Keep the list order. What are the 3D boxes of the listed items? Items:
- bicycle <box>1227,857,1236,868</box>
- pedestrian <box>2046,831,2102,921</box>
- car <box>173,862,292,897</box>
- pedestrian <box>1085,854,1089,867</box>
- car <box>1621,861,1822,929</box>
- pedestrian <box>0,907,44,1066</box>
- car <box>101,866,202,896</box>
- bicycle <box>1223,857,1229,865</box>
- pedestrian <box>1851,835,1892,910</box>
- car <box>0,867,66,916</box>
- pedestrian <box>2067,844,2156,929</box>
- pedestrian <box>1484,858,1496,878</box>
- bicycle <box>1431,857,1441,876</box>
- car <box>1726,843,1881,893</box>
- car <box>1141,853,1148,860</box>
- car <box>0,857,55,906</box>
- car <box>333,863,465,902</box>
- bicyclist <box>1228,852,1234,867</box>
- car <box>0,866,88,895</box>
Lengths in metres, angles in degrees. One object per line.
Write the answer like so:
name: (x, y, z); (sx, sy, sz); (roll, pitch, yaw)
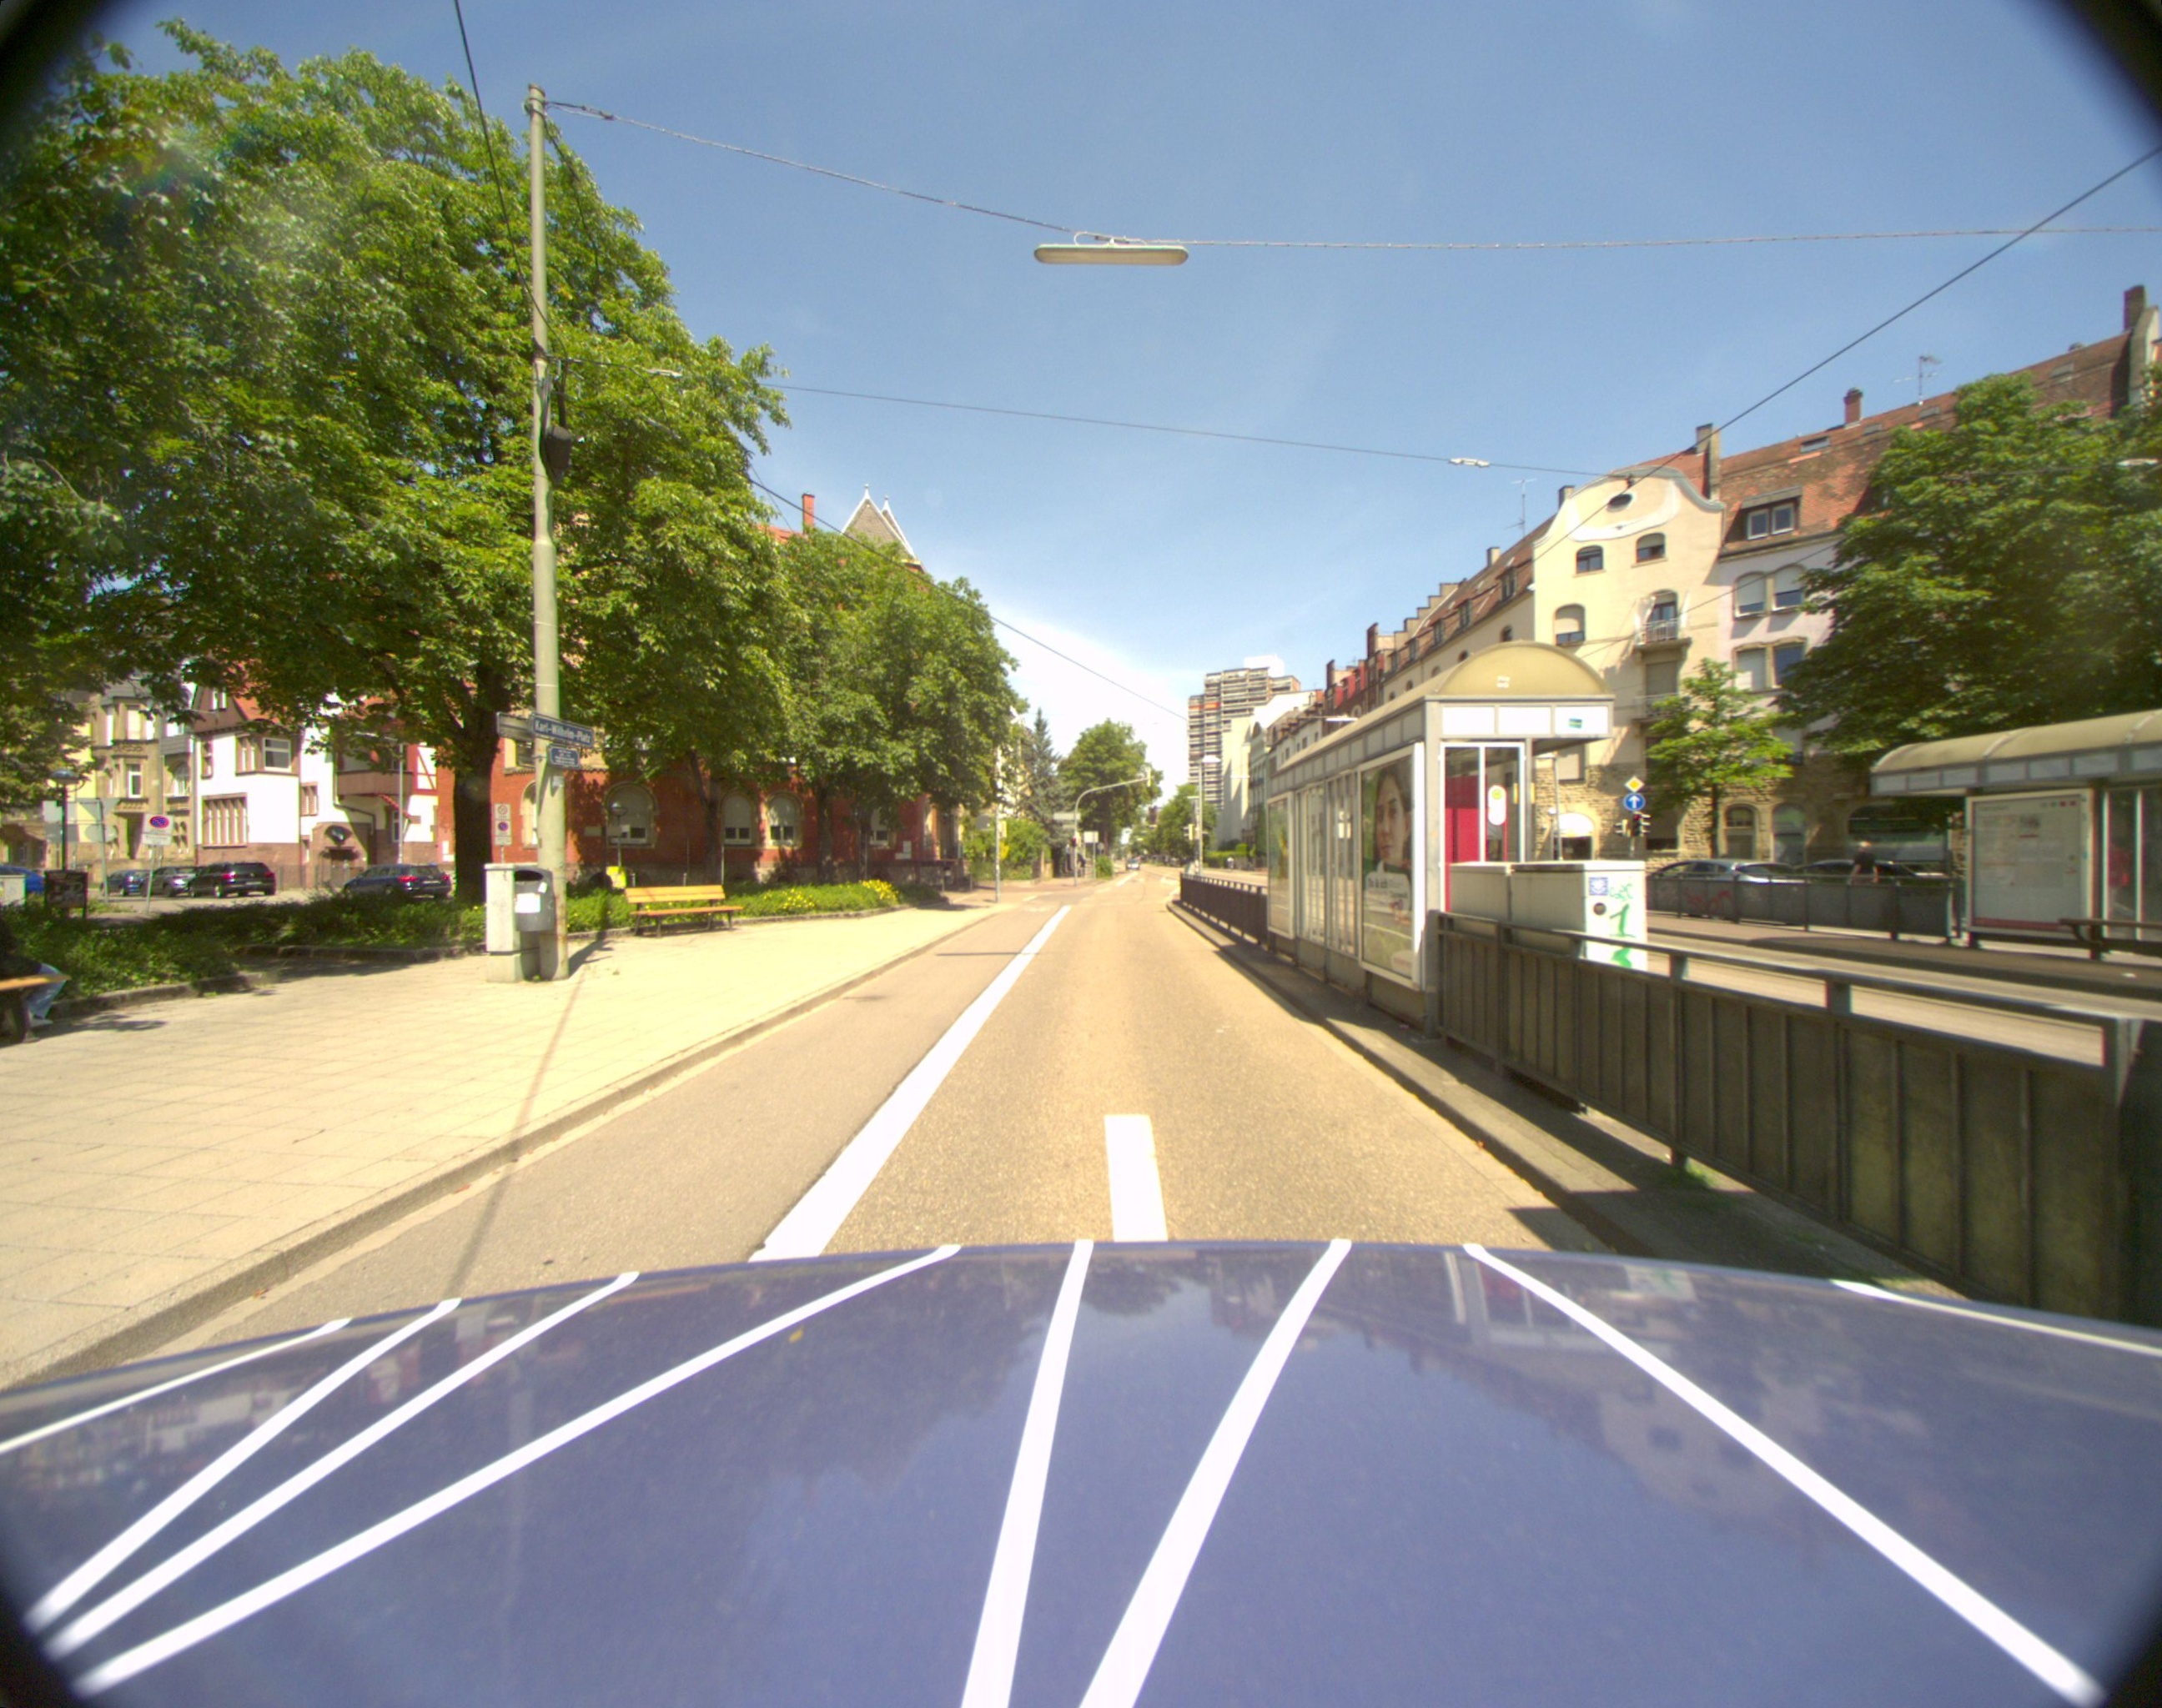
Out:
bicycle: (16.283, 0.949, 82.425); (0.629, 1.150, 1.978); (-1, 0, 1)
pedestrian: (20.978, 0.453, 16.061); (0.511, 1.868, 0.494); (-1, 1, 6)
car: (-40.090, 1.189, 35.873); (5.477, 1.523, 1.991); (-1, 1, 22)
pedestrian: (0.754, 0.833, 95.906); (0.547, 1.683, 0.755); (0, 1, 1)
car: (14.710, 0.869, 17.736); (1.544, 1.331, 3.718); (-1, 1, 0)
pedestrian: (-7.794, 0.928, 5.286); (0.510, 1.085, 0.478); (1, 0, 7)
car: (-48.376, 1.398, 39.567); (4.605, 1.456, 1.908); (-1, 1, 21)
bicycle: (19.191, 0.907, 100.518); (0.493, 1.090, 2.047); (-1, 0, 1)
pedestrian: (19.614, 0.451, 18.857); (0.511, 1.812, 0.494); (-1, 1, 3)
car: (-32.891, 1.116, 21.971); (1.723, 1.421, 3.895); (-1, -1, 20)
pedestrian: (19.855, 0.608, 14.654); (0.681, 1.596, 0.773); (-1, 1, -2)
pedestrian: (23.018, 0.779, 42.755); (0.406, 1.142, 0.405); (-1, 1, -2)
bicycle: (22.893, 0.797, 48.996); (0.454, 1.218, 2.083); (-1, 1, 21)
car: (24.028, 0.441, 25.444); (3.577, 1.566, 1.586); (-1, 1, 35)
car: (17.422, 0.724, 208.401); (1.848, 1.926, 4.823); (1, 1, 2)
car: (-37.283, 0.929, 24.746); (1.723, 1.642, 4.273); (-1, -1, 20)
car: (-27.215, 1.117, 30.338); (4.748, 1.433, 1.908); (-1, 1, 21)
bicyclist: (16.270, 0.602, 82.408); (0.609, 1.565, 0.585); (-1, 1, 1)
car: (-59.614, 1.512, 43.627); (4.391, 1.547, 1.908); (-1, 1, 21)
